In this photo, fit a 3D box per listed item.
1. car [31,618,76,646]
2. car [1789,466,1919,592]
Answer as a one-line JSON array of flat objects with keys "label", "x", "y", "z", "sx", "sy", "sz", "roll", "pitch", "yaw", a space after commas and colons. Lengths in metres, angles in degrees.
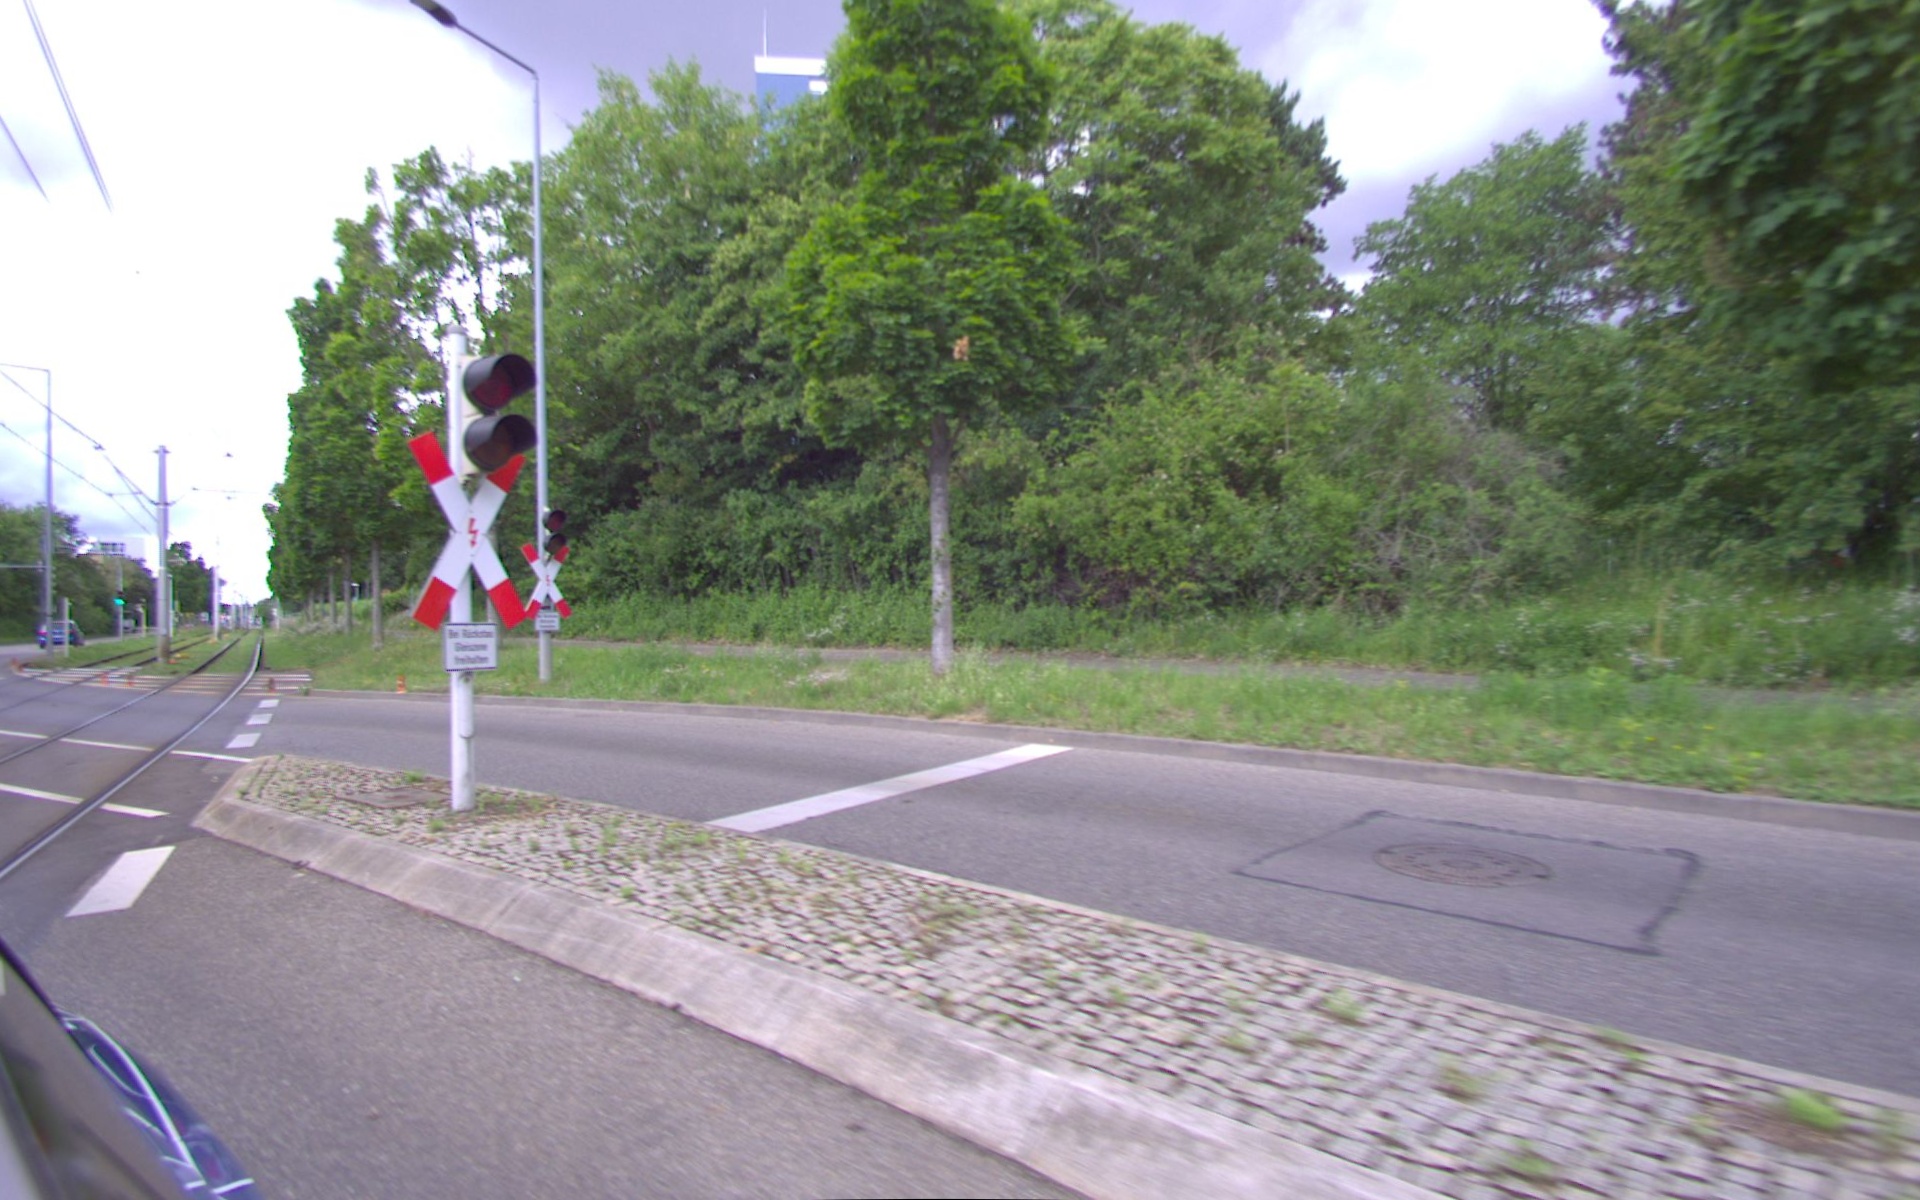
[{"label": "car", "x": -54.355, "y": 1.920, "z": 60.752, "sx": 1.844, "sy": 1.532, "sz": 4.245, "roll": -2, "pitch": -1, "yaw": -40}, {"label": "car", "x": 15.158, "y": -1.072, "z": 13.994, "sx": 2.110, "sy": 1.738, "sz": 5.335, "roll": -1, "pitch": -1, "yaw": -36}]
